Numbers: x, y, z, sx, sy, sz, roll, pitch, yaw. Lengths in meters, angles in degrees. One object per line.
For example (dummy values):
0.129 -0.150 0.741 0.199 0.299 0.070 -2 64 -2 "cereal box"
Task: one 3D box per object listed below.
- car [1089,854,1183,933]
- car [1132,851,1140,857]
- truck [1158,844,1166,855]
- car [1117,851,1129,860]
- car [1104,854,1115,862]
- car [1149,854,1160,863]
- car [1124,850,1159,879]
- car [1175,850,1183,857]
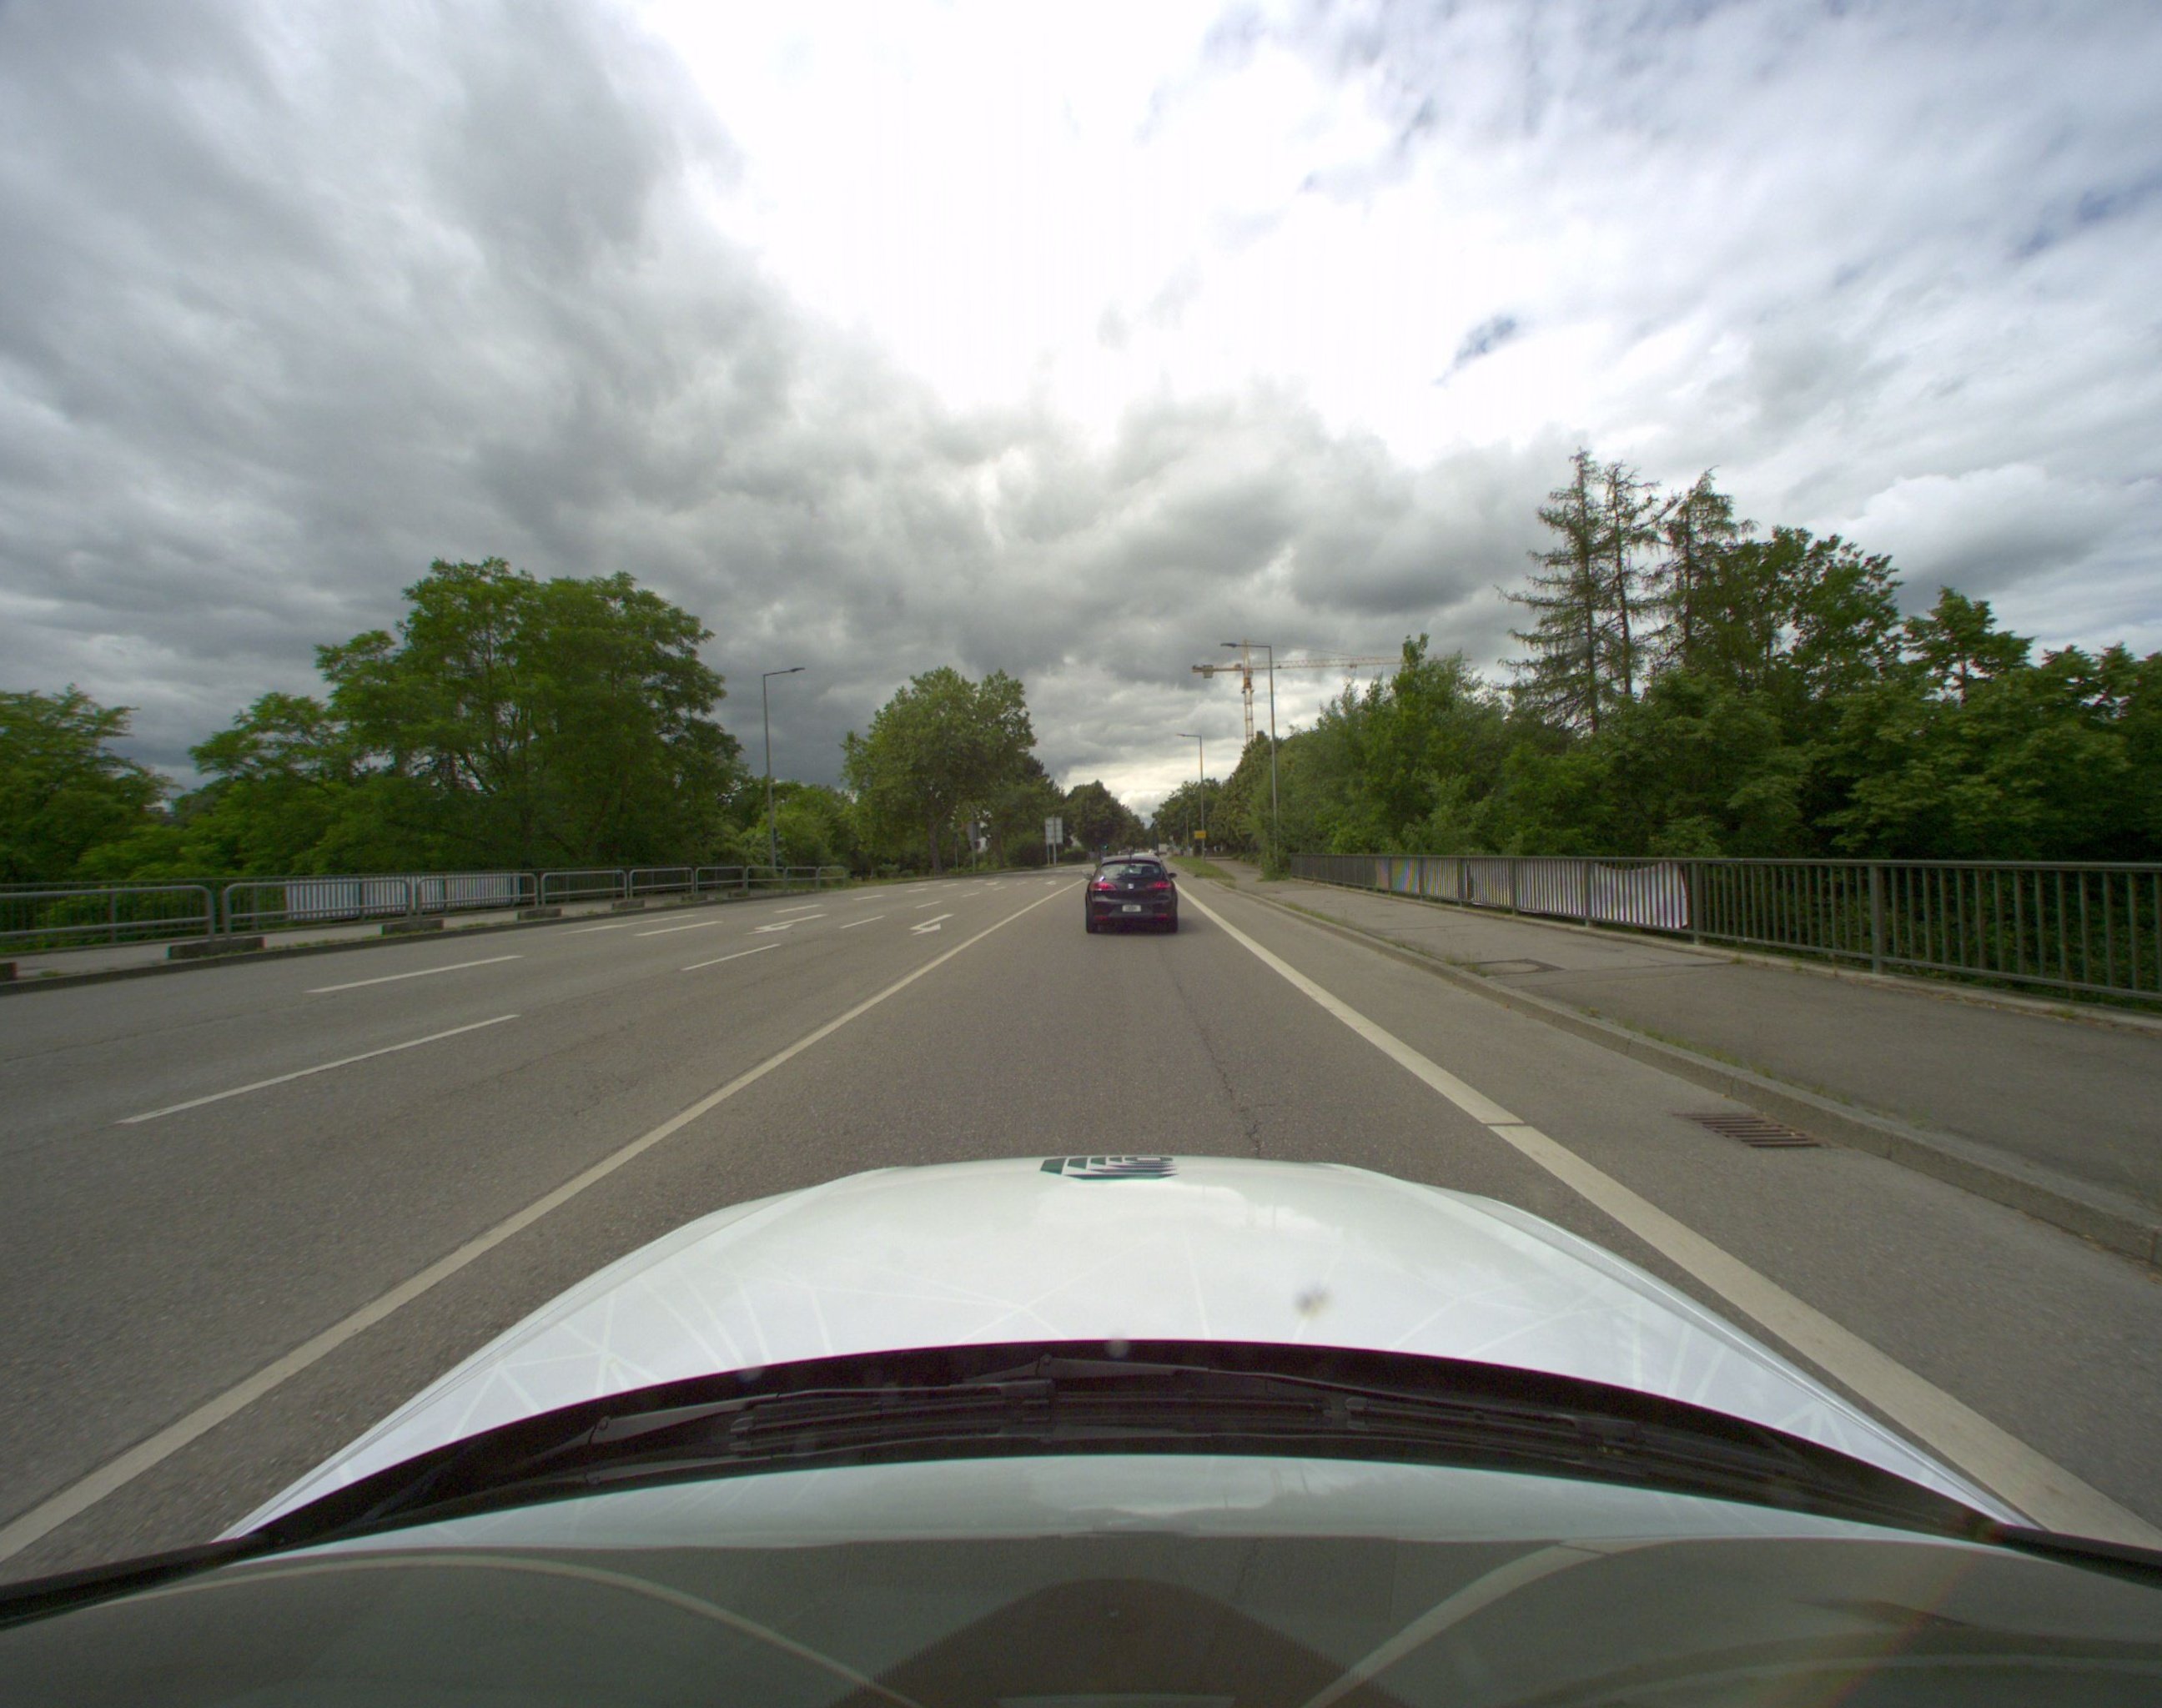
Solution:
1.027 0.704 16.424 1.657 1.401 3.813 0 0 1 "car"
16.258 0.034 240.987 2.089 1.506 5.795 -4 0 7 "car"
22.549 -1.265 225.976 2.267 3.104 8.525 0 0 6 "truck"
9.507 0.250 183.995 2.089 1.896 5.795 -4 0 7 "car"
5.487 0.670 155.156 1.709 1.395 4.810 -4 0 7 "car"
13.805 0.807 151.856 1.871 1.689 4.221 -2 0 6 "car"
3.394 0.554 45.228 1.837 1.510 3.817 0 0 5 "car"
21.418 -0.115 177.262 1.679 1.490 3.361 -2 0 6 "car"
